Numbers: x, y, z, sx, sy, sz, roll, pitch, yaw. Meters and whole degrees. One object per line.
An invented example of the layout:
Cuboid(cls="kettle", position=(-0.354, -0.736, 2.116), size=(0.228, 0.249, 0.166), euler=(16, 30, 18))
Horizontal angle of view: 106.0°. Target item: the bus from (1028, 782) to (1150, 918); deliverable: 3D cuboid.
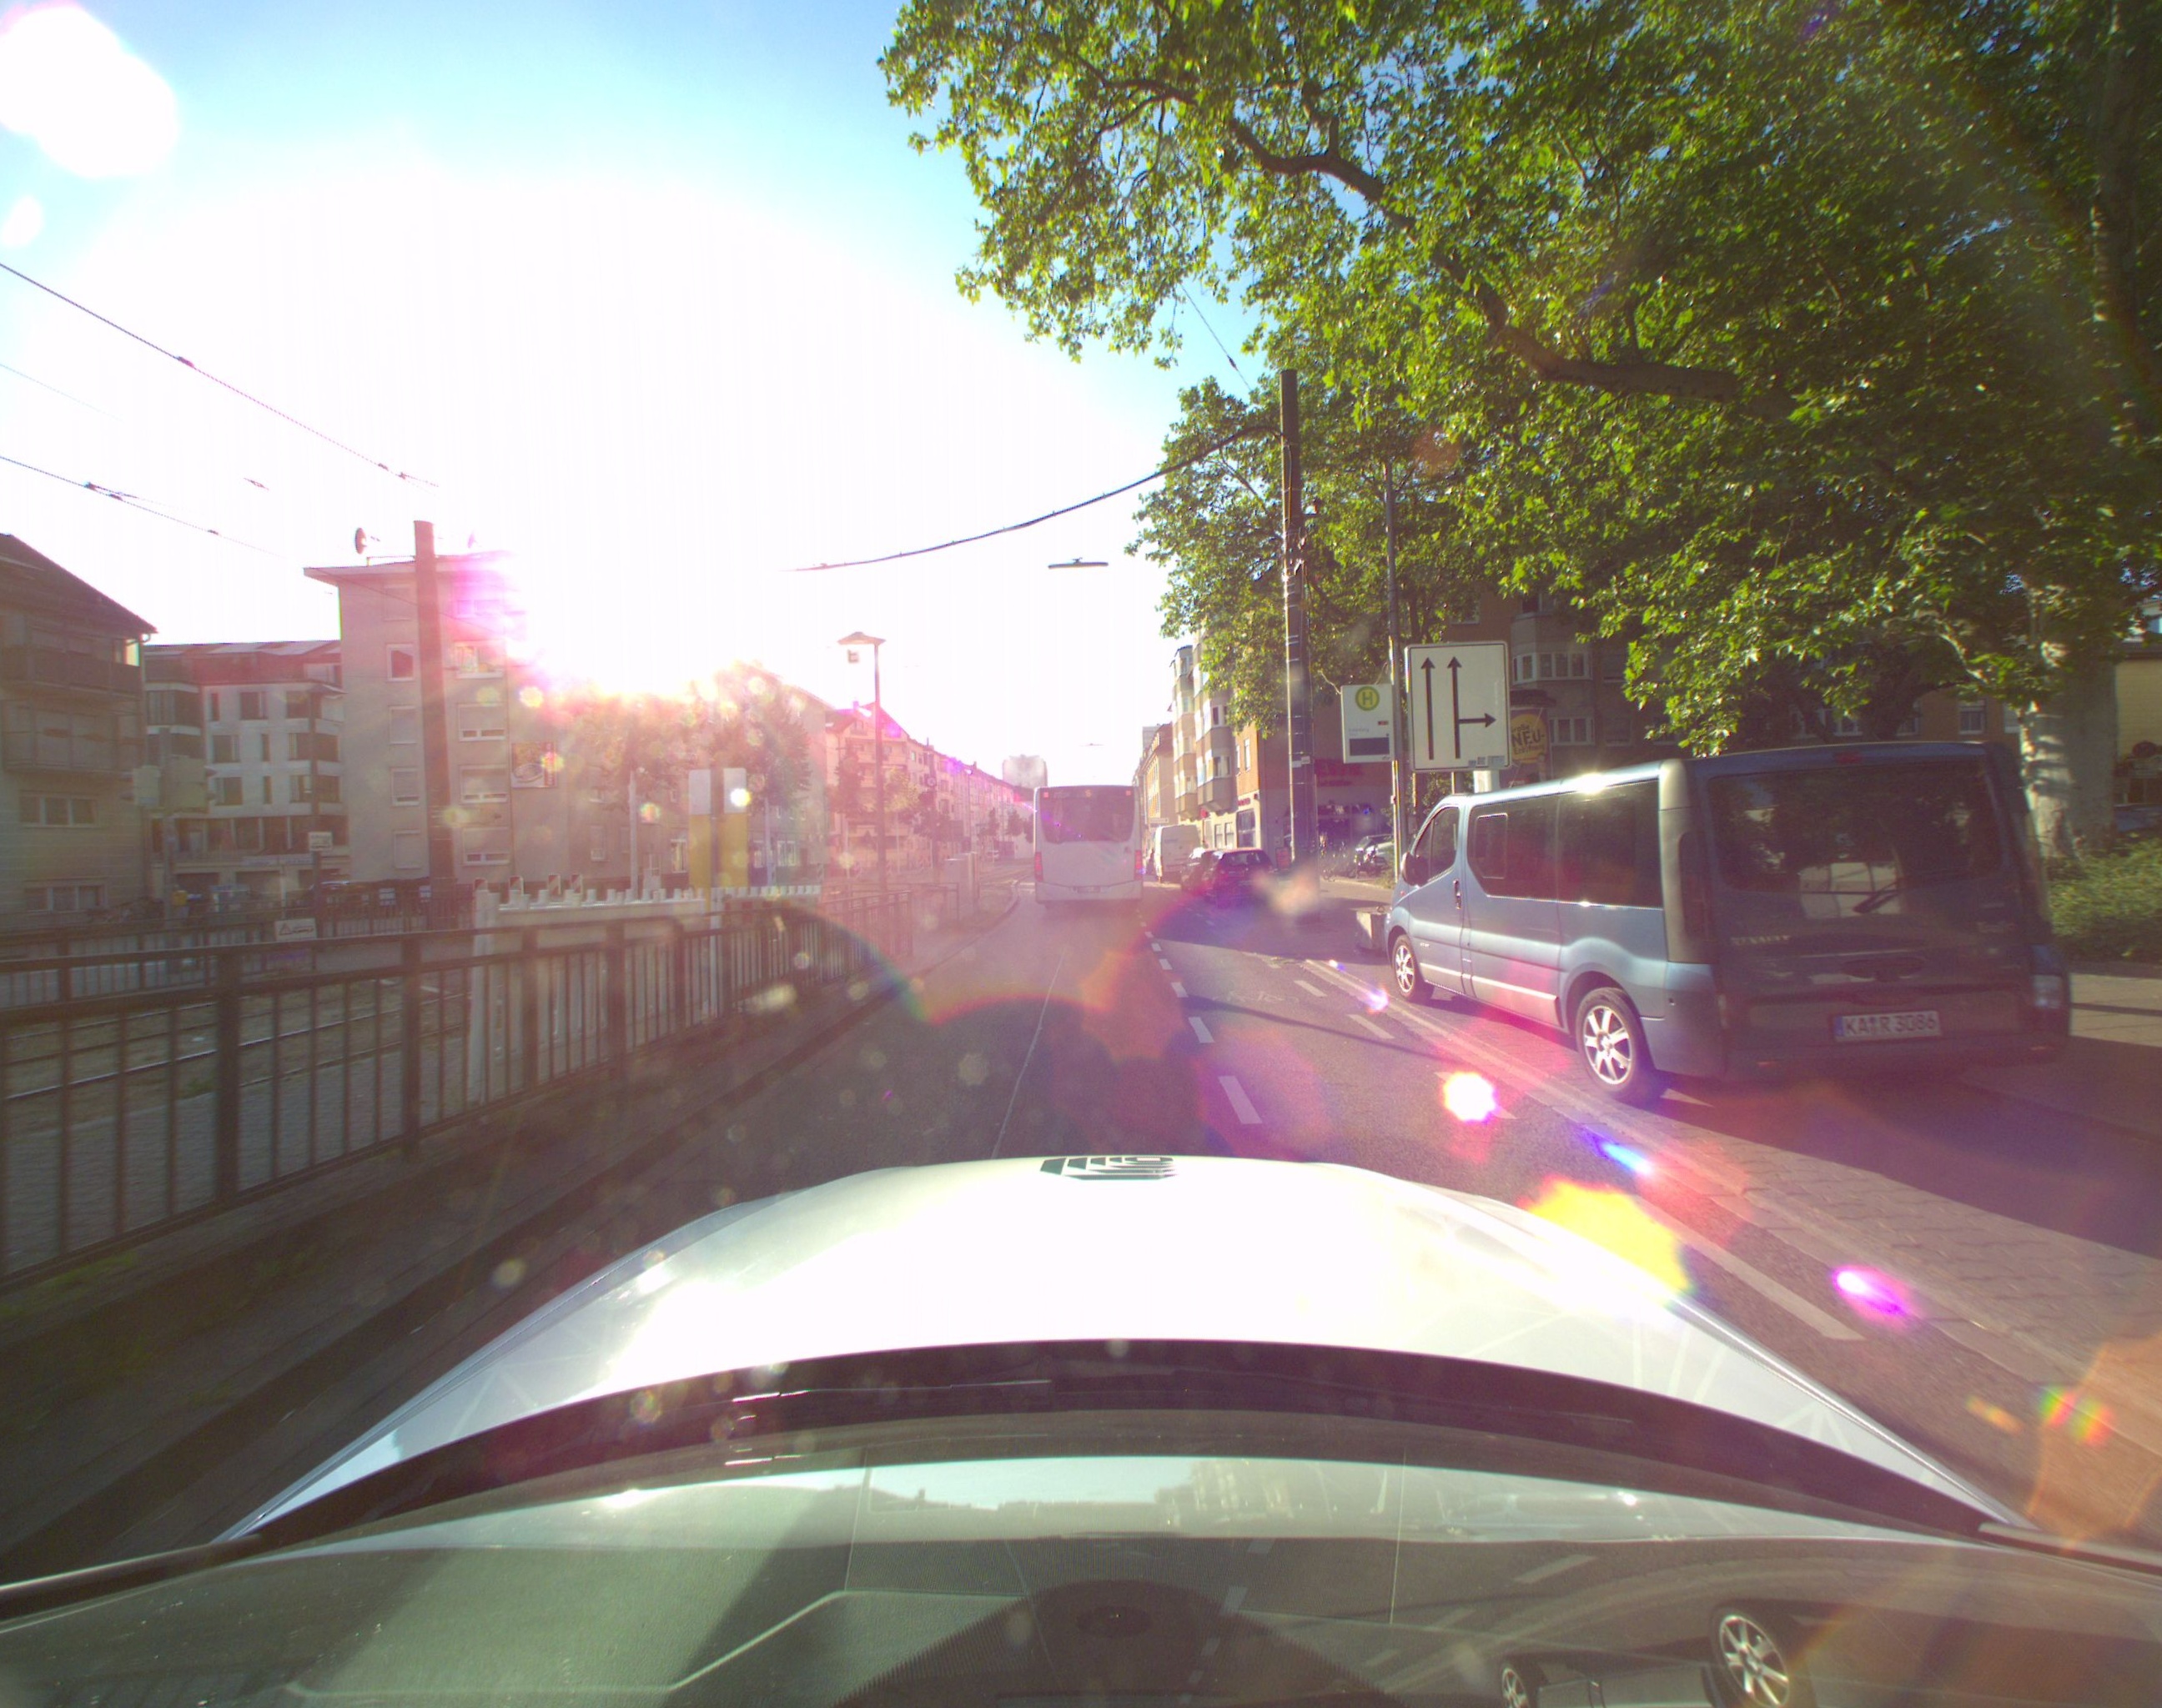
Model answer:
Cuboid(cls="bus", position=(0.309, -0.116, 22.892), size=(2.728, 3.055, 8.857), euler=(-1, 0, 2))

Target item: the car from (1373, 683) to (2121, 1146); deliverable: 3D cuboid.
Cuboid(cls="car", position=(3.900, 0.271, 6.058), size=(1.878, 2.078, 4.565), euler=(-2, 0, 2))

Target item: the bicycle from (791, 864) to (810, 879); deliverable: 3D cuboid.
Cuboid(cls="bicycle", position=(-21.319, 1.322, 62.021), size=(0.744, 1.115, 1.779), euler=(-2, 0, 2))

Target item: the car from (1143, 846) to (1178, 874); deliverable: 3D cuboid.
Cuboid(cls="car", position=(4.800, 0.333, 49.628), size=(1.831, 1.536, 4.231), euler=(-3, 0, 2))

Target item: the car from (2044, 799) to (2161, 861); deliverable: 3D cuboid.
Cuboid(cls="car", position=(28.598, -0.677, 21.445), size=(4.034, 1.534, 2.001), euler=(-2, 0, 1))

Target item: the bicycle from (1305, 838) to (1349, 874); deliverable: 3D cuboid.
Cuboid(cls="bicycle", position=(8.900, 0.073, 29.437), size=(1.590, 1.226, 0.644), euler=(-3, 0, -37))

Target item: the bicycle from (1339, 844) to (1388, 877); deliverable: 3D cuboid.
Cuboid(cls="bicycle", position=(9.184, 0.206, 26.436), size=(1.688, 1.014, 0.644), euler=(-3, 0, -37))

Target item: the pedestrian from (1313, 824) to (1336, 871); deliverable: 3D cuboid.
Cuboid(cls="pedestrian", position=(9.543, -0.263, 31.905), size=(0.527, 1.781, 0.649), euler=(-6, 1, -6))

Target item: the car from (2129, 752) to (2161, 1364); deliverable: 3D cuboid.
Cuboid(cls="car", position=(3.693, 0.524, 0.187), size=(1.789, 1.630, 4.002), euler=(-2, 0, 2))

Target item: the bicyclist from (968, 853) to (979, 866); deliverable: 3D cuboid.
Cuboid(cls="bicyclist", position=(-9.916, 0.494, 75.303), size=(0.932, 1.161, 0.641), euler=(-2, 0, -10))

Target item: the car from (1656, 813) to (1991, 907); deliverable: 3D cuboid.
Cuboid(cls="car", position=(12.016, 0.064, 13.402), size=(3.825, 1.436, 1.804), euler=(0, 2, 2))

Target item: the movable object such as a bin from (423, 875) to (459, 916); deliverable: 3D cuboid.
Cuboid(cls="movable object such as a bin", position=(-23.059, 1.483, 29.360), size=(0.661, 1.400, 0.749), euler=(-3, 0, 0))

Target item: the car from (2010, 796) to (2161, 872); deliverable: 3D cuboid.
Cuboid(cls="car", position=(23.449, -0.487, 17.749), size=(4.034, 1.534, 2.001), euler=(-2, 0, 1))

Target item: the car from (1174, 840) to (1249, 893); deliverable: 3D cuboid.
Cuboid(cls="car", position=(4.344, 0.380, 27.706), size=(1.691, 1.530, 4.652), euler=(-5, 0, 0))

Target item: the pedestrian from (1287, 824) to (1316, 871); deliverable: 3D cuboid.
Cuboid(cls="pedestrian", position=(8.723, -0.269, 32.235), size=(0.803, 1.751, 0.769), euler=(-5, 1, 1))

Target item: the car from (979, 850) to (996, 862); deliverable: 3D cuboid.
Cuboid(cls="car", position=(-16.422, 0.382, 143.166), size=(1.983, 2.013, 4.007), euler=(-2, 0, 6))

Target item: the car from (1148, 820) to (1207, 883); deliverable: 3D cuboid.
Cuboid(cls="car", position=(4.450, -0.129, 38.358), size=(2.010, 2.551, 5.787), euler=(-6, 0, 2))

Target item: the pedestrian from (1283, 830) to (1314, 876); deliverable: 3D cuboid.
Cuboid(cls="pedestrian", position=(8.209, -0.036, 30.769), size=(0.658, 1.636, 0.988), euler=(-6, 1, -6))

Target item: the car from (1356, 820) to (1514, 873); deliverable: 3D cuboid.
Cuboid(cls="car", position=(12.124, -0.262, 28.123), size=(4.602, 1.709, 2.000), euler=(1, 0, 0))

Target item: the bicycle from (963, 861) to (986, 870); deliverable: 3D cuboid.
Cuboid(cls="bicycle", position=(-9.807, 1.021, 75.308), size=(2.063, 0.732, 0.760), euler=(-2, 0, -10))

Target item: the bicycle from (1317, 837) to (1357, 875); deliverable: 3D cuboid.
Cuboid(cls="bicycle", position=(8.910, 0.068, 28.352), size=(0.639, 1.226, 1.592), euler=(-3, 0, 44))

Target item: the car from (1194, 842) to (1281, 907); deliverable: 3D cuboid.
Cuboid(cls="car", position=(4.130, 0.494, 21.961), size=(1.564, 1.494, 3.626), euler=(-4, 0, 0))

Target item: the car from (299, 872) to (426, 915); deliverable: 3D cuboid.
Cuboid(cls="car", position=(-29.821, 1.624, 33.867), size=(3.796, 1.512, 1.821), euler=(-3, 0, 7))

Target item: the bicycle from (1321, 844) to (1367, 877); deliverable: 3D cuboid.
Cuboid(cls="bicycle", position=(8.778, 0.213, 27.165), size=(1.590, 1.014, 0.644), euler=(-3, 0, -37))

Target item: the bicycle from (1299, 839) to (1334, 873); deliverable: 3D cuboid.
Cuboid(cls="bicycle", position=(8.749, 0.064, 30.177), size=(1.528, 1.226, 0.399), euler=(-3, 0, -39))

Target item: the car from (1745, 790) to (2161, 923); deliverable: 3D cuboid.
Cuboid(cls="car", position=(11.840, 0.023, 11.057), size=(4.095, 1.495, 1.804), euler=(-2, 0, 2))
